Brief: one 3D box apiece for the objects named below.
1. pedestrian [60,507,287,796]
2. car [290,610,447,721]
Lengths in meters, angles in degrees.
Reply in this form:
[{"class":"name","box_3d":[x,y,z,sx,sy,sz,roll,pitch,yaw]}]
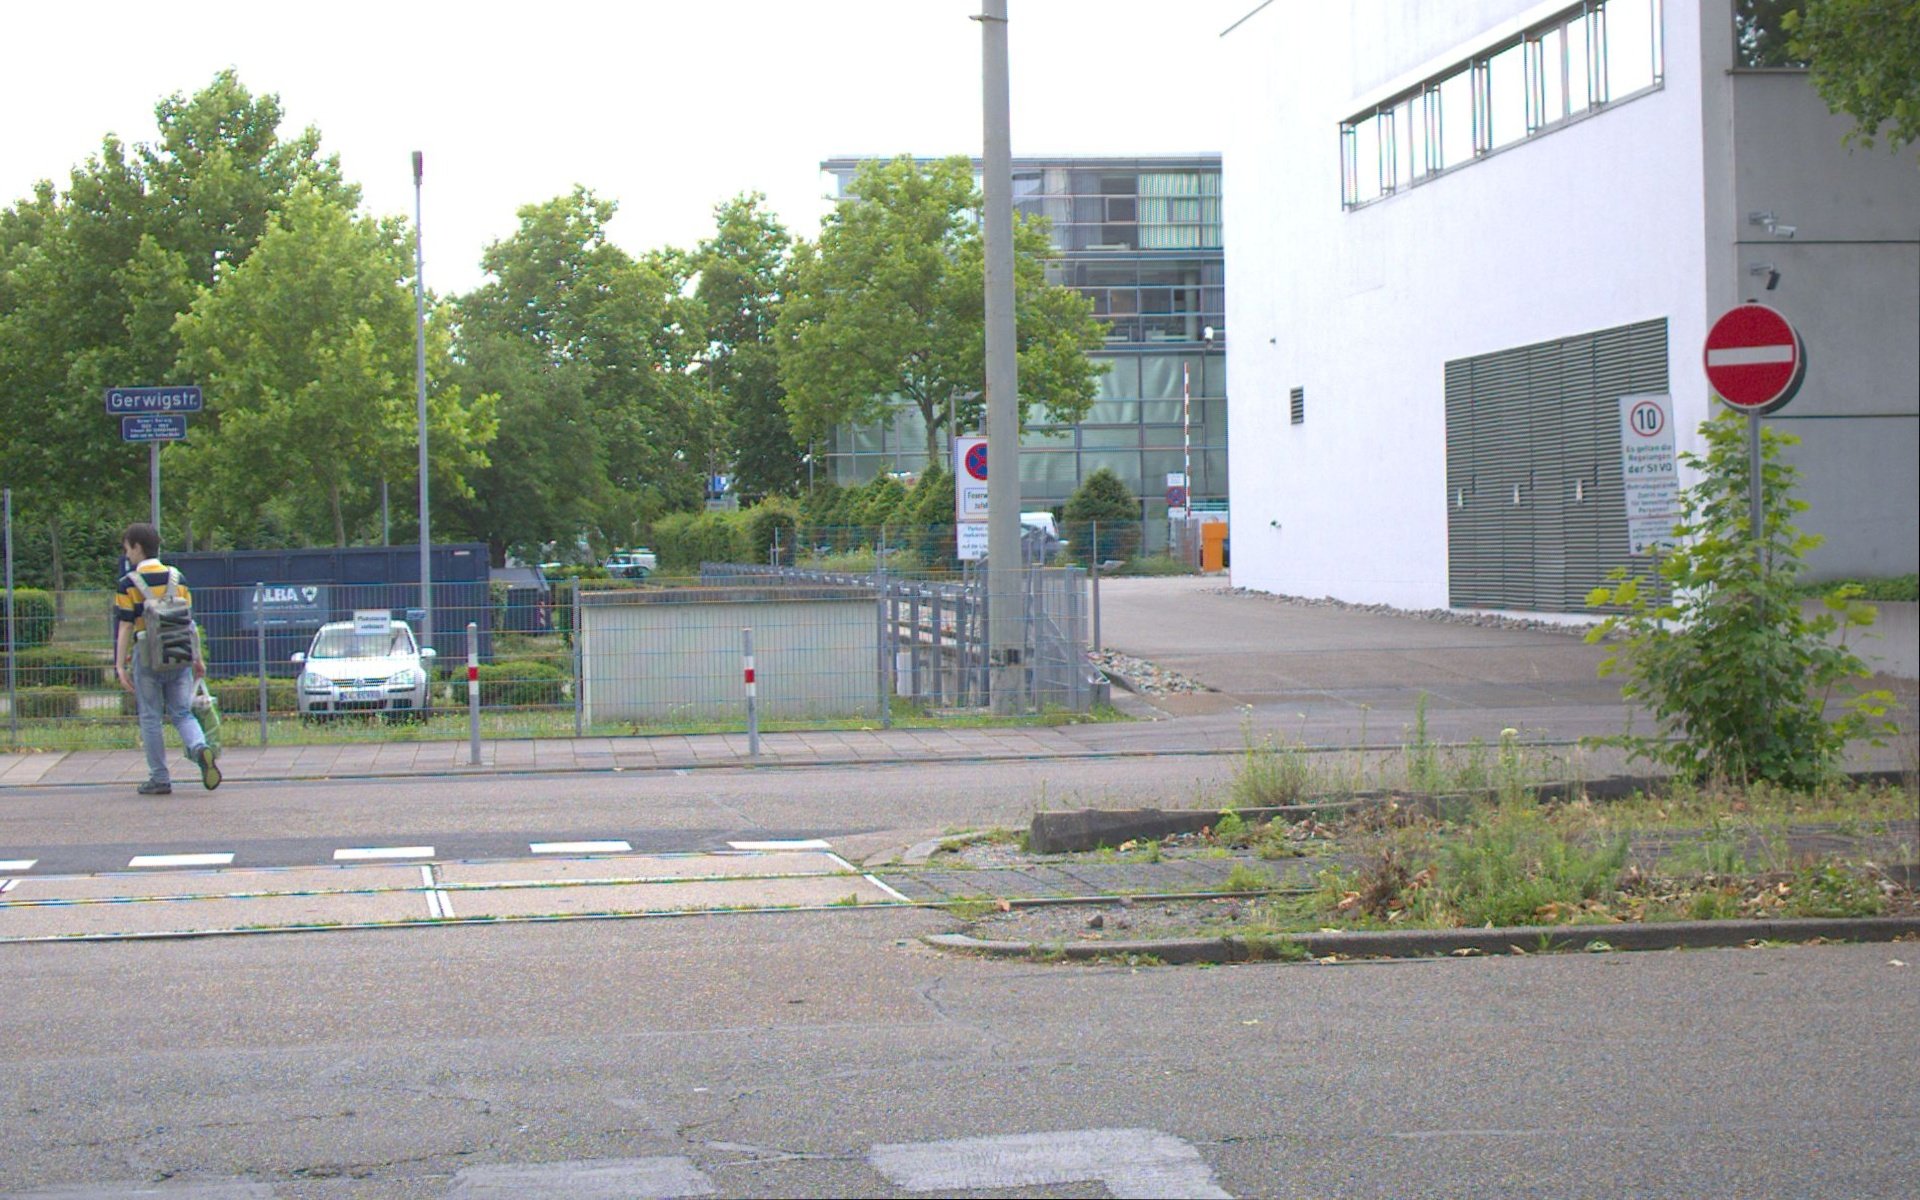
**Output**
[{"class":"pedestrian","box_3d":[-5.213,0.322,22.752,1.001,1.843,1.229,-1,1,-39]},{"class":"car","box_3d":[-8.250,0.881,48.223,1.930,1.398,4.082,-1,1,-7]}]
